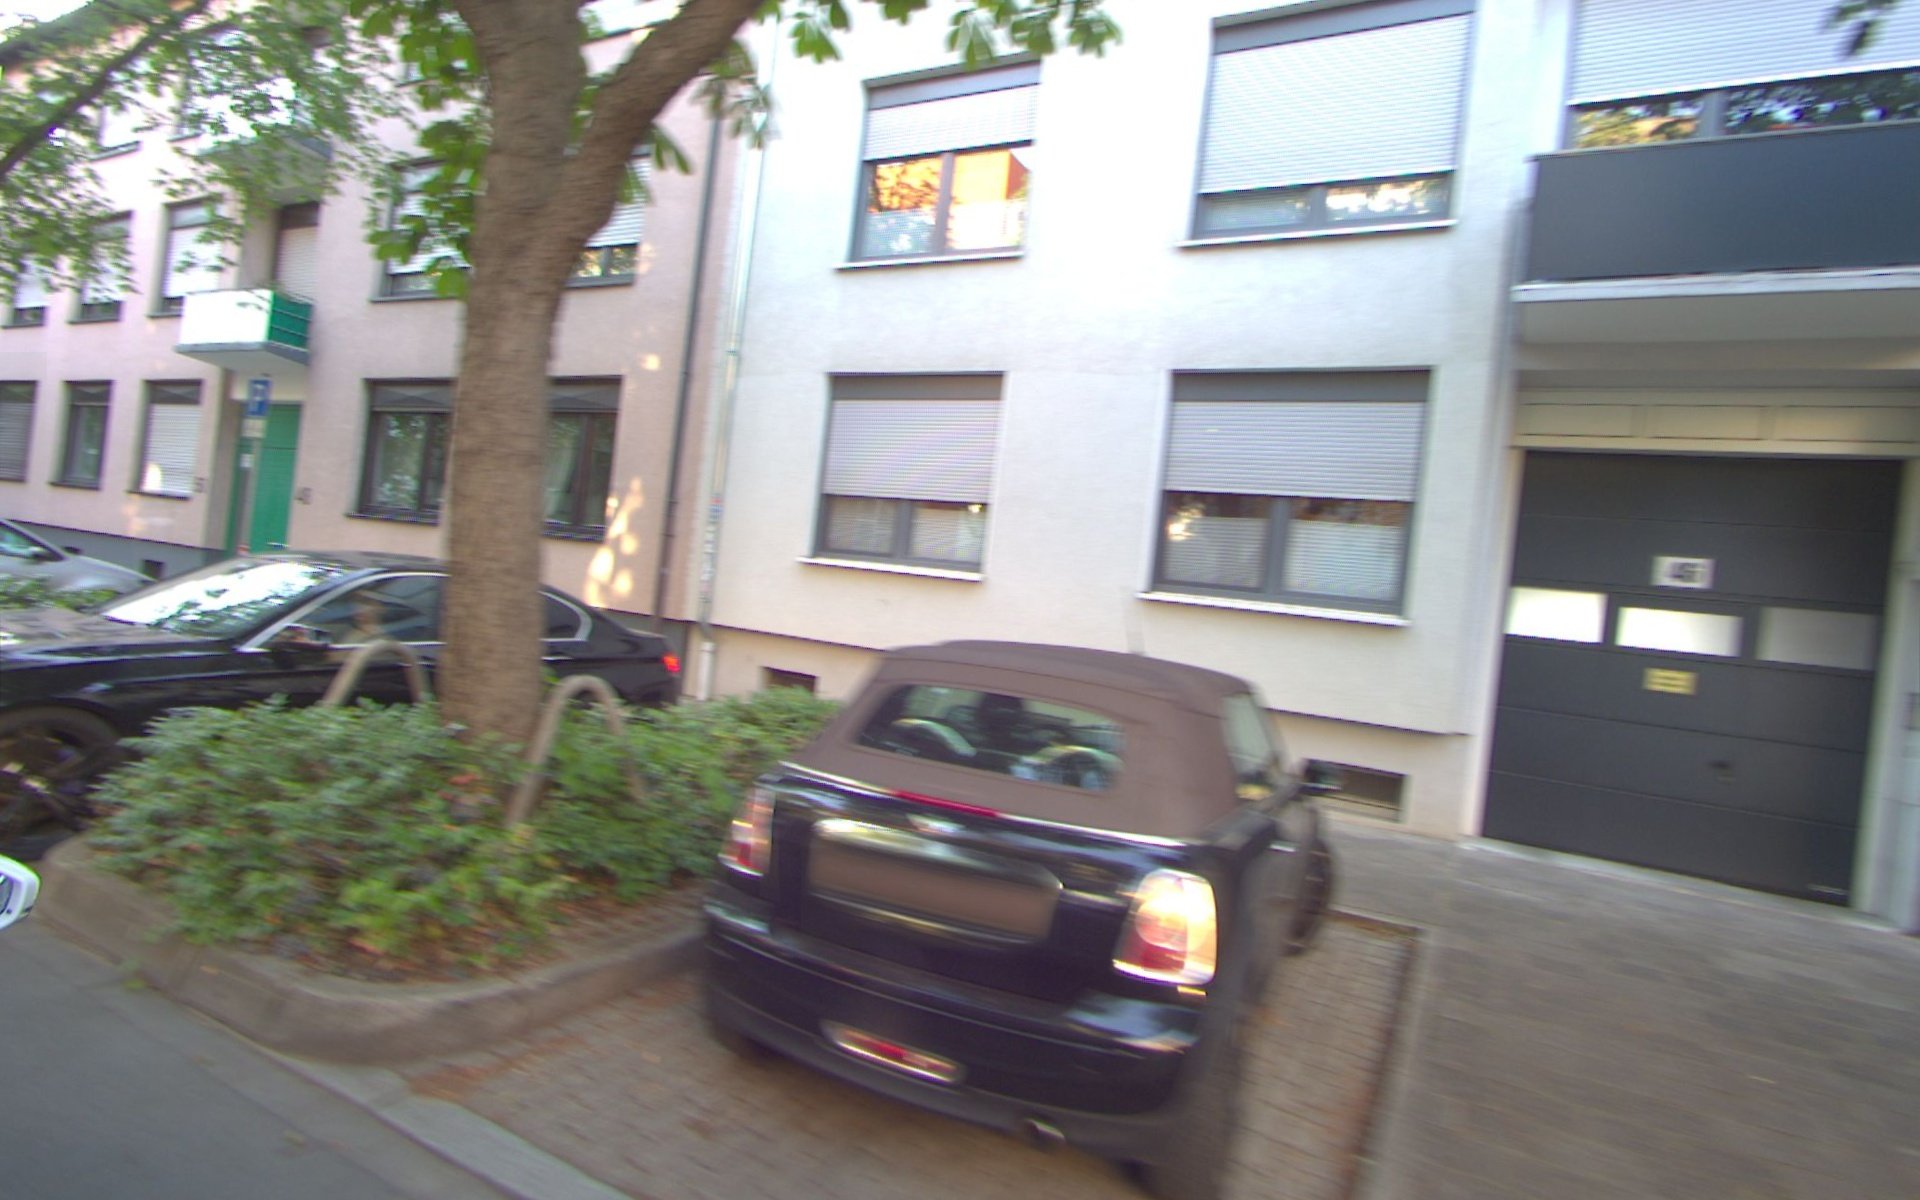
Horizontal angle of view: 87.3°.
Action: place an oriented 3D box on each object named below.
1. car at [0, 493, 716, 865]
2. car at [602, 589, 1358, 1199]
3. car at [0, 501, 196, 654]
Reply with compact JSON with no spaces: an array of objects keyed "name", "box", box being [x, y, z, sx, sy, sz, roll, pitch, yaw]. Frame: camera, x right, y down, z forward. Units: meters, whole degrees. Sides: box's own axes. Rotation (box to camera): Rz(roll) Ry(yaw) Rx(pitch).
[{"name":"car","box":[-3.816,0.372,5.946,1.769,1.497,4.755,7,-1,29]},{"name":"car","box":[0.565,0.863,4.092,1.635,1.380,3.620,7,-1,25]},{"name":"car","box":[-10.475,-0.337,10.213,1.635,1.494,3.919,6,-1,27]}]
